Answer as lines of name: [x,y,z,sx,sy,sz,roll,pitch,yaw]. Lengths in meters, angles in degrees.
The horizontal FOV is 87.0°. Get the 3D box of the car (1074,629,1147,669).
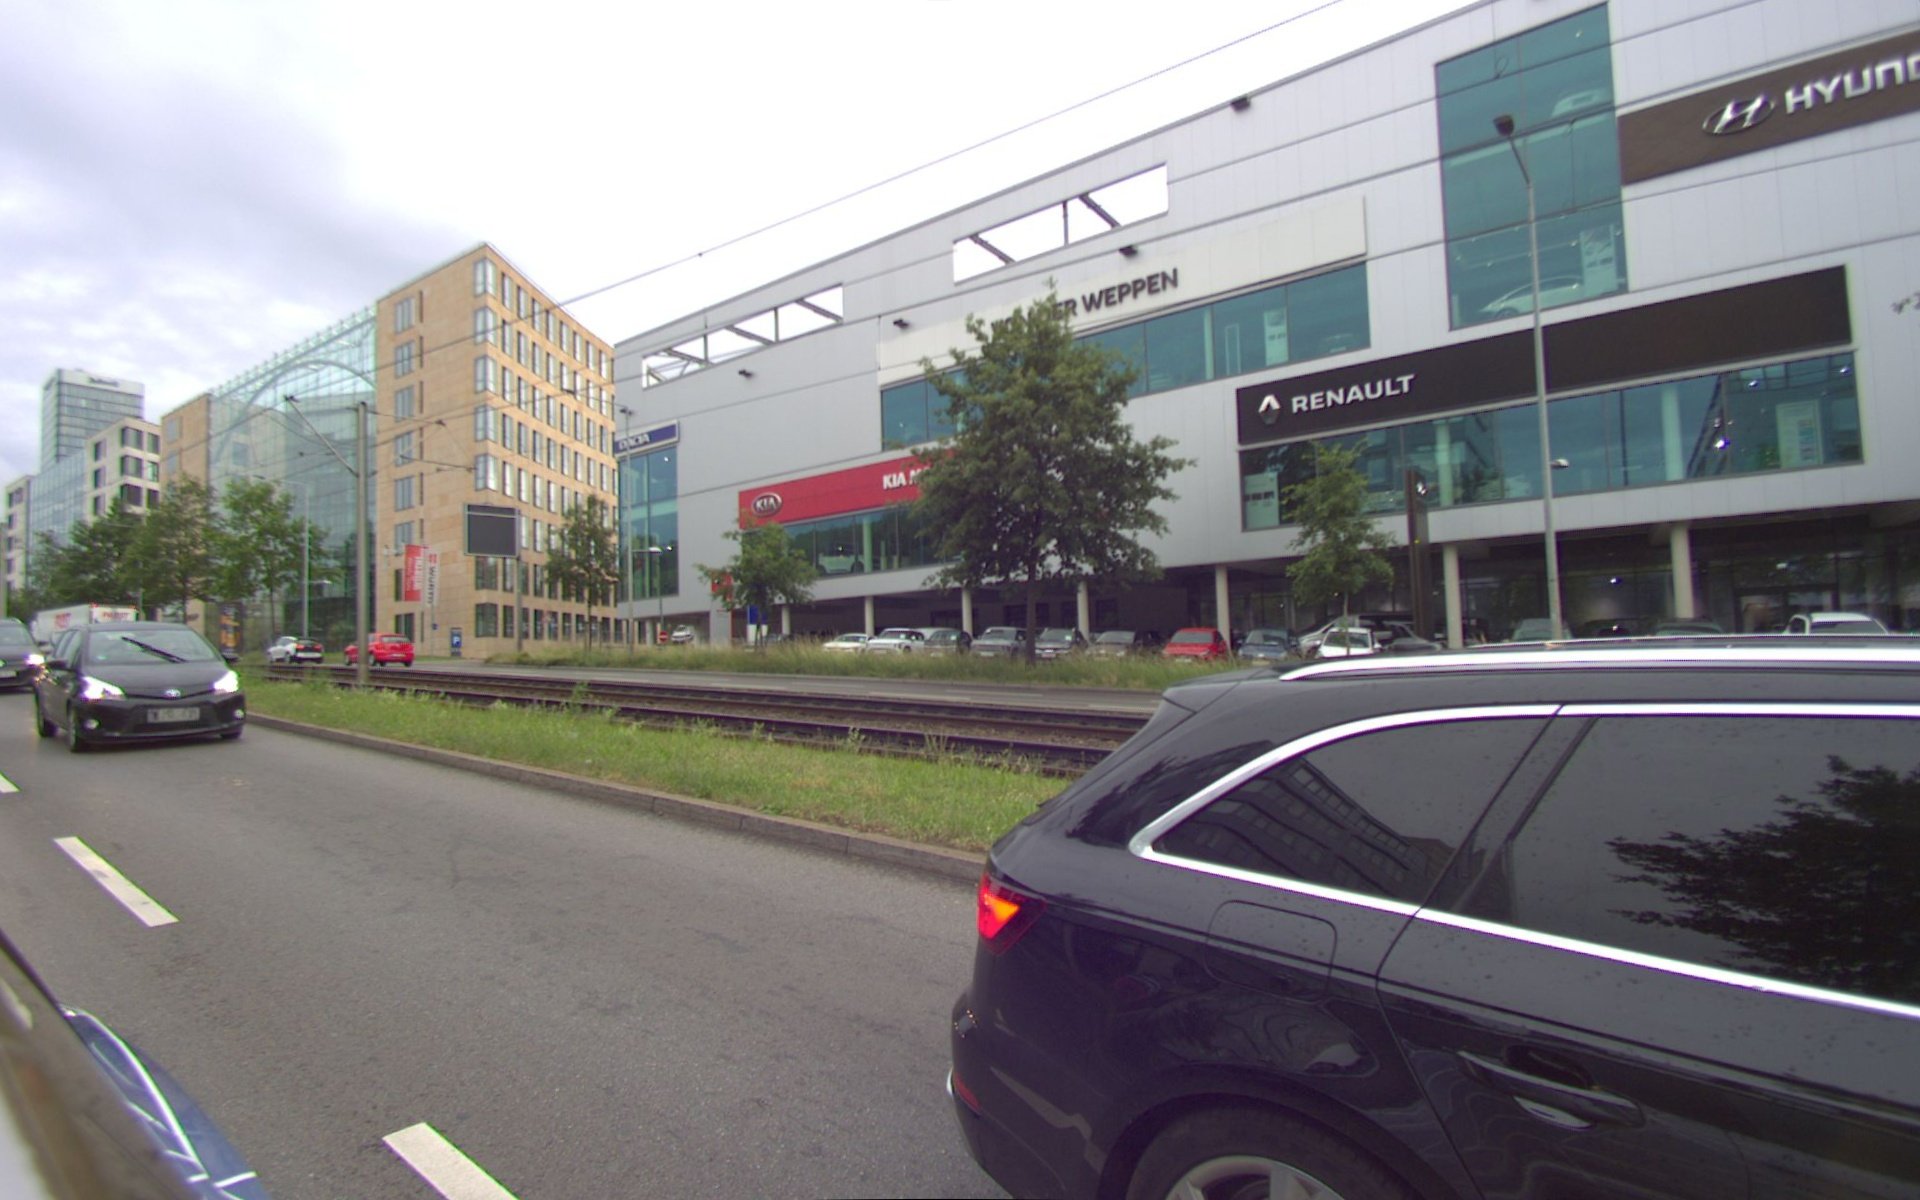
car: [5.418,1.731,36.175,1.688,1.190,3.498,-2,1,24]

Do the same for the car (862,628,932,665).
car: [-2.623,1.933,42.814,1.685,1.304,3.643,-2,1,18]

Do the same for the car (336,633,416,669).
car: [-25.710,2.228,44.507,4.096,1.524,1.569,-2,-4,38]

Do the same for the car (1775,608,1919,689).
car: [20.767,1.059,23.663,1.992,1.562,4.331,-2,1,30]

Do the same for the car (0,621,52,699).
car: [-21.813,1.319,22.586,4.315,1.619,1.763,-2,0,41]

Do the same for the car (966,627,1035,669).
car: [1.633,1.845,39.533,1.686,1.362,3.503,-2,1,20]

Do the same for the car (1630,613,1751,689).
car: [18.229,1.212,25.438,1.992,1.562,4.331,-2,1,30]

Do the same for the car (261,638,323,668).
car: [-38.001,2.988,57.541,4.091,1.593,1.669,-2,-2,36]

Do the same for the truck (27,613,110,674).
truck: [-65.495,3.226,74.295,7.017,4.276,3.106,-2,-5,37]

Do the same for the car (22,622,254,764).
car: [-10.599,1.070,12.967,3.824,1.544,1.682,-2,-2,41]

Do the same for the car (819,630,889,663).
car: [-4.613,2.008,44.490,1.685,1.196,3.643,-2,1,18]

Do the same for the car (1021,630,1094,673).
car: [3.670,1.887,37.635,1.688,1.362,3.498,-2,1,24]

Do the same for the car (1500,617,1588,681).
car: [16.029,1.294,27.824,1.925,1.470,3.981,-2,1,30]

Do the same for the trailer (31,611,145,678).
trailer: [-61.507,3.121,71.226,13.257,4.363,3.105,-2,-4,37]

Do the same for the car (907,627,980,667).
car: [-0.615,1.872,40.883,1.688,1.362,3.499,-2,1,23]

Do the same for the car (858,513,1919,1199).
car: [2.055,0.636,1.380,4.511,1.478,1.762,-2,-2,41]

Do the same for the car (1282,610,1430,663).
car: [14.128,1.289,36.351,4.488,1.796,1.997,-1,-1,5]

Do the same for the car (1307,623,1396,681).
car: [12.122,1.546,31.198,1.914,1.470,4.005,-2,1,30]

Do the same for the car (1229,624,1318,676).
car: [10.248,1.576,32.895,1.914,1.362,4.005,-2,1,30]

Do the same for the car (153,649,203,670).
car: [-53.889,4.088,69.747,4.017,1.380,1.669,-2,-2,36]

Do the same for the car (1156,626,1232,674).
car: [7.985,1.655,34.298,1.789,1.362,3.903,-2,1,24]
